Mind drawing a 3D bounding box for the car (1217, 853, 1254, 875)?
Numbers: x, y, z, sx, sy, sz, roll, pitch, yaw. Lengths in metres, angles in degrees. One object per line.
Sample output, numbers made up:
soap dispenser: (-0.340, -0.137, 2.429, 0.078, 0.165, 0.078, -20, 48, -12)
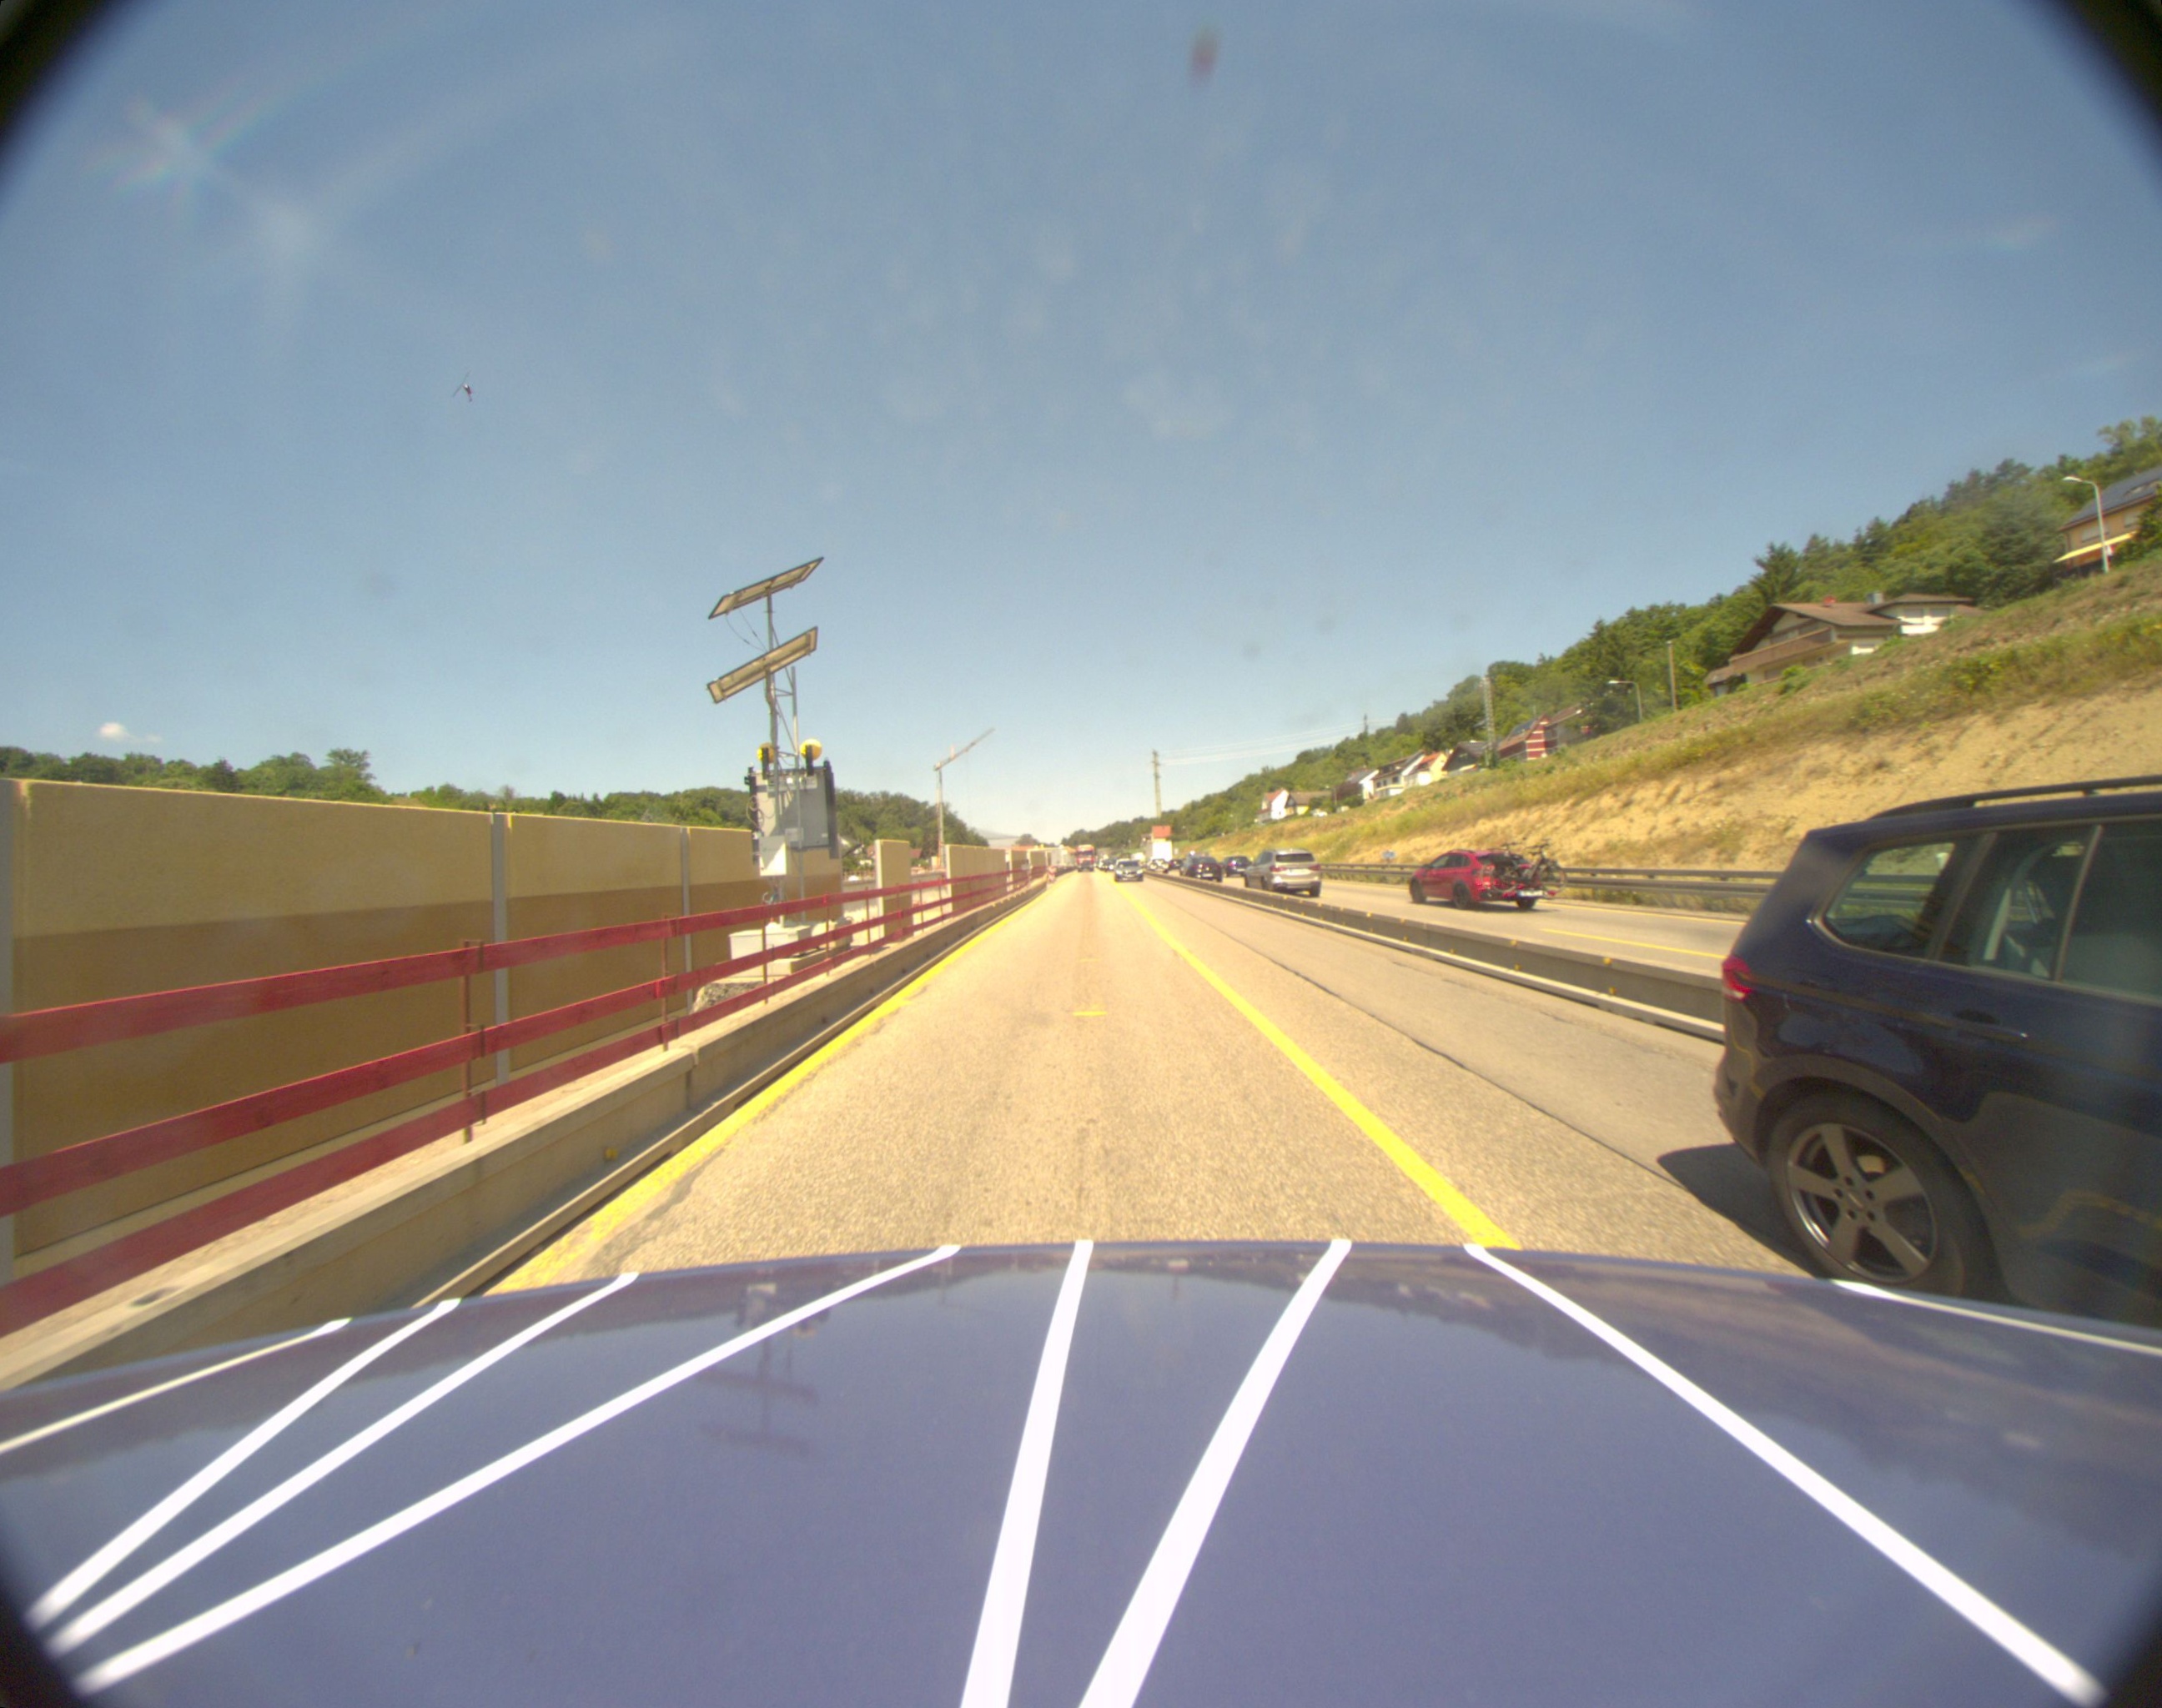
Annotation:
car: (10.671, 0.674, 52.670, 1.714, 1.410, 4.242, -2, 0, 1)

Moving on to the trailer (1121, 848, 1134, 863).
trailer: (12.433, 0.398, 202.801, 2.920, 3.915, 10.527, -2, 0, 1)

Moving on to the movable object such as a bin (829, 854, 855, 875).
movable object such as a bin: (-36.795, 1.544, 117.057, 2.202, 3.065, 4.918, -2, 0, 1)

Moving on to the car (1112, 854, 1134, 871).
car: (3.754, 0.773, 68.275, 1.780, 1.447, 4.336, -2, -1, 1)

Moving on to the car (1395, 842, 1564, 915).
car: (10.030, 0.545, 19.682, 1.689, 1.576, 5.126, -2, 0, 1)

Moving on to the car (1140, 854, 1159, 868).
car: (7.431, 0.773, 83.048, 1.714, 1.410, 4.242, -2, 0, 1)

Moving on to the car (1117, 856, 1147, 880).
car: (3.340, 0.931, 50.285, 1.780, 1.447, 4.336, -2, -1, 1)

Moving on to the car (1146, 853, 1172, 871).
car: (7.441, 0.732, 72.965, 1.844, 1.644, 5.371, -1, 0, 0)

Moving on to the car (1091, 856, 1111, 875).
car: (1.877, 1.087, 72.796, 1.780, 1.682, 4.336, -2, -1, 1)

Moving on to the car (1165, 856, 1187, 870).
car: (11.241, 1.020, 90.470, 1.998, 1.498, 4.718, -2, 0, 0)

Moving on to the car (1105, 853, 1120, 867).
car: (3.918, 0.785, 95.589, 1.780, 1.727, 4.336, -2, -1, 1)

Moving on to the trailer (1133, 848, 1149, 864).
trailer: (11.678, 0.419, 149.312, 2.619, 2.983, 6.371, -2, 0, 1)

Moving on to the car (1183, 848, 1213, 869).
car: (11.082, 0.449, 72.560, 2.043, 1.915, 5.121, -1, 0, 0)

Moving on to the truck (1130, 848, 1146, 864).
truck: (11.787, 0.381, 157.025, 2.733, 3.124, 8.960, -2, 0, 1)

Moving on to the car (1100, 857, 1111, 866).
car: (4.218, 1.304, 130.922, 1.780, 1.485, 4.336, -2, -1, 1)

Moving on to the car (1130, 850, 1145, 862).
car: (8.183, 0.244, 109.693, 1.837, 1.656, 4.414, -2, 0, 0)

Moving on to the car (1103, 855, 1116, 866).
car: (4.281, 0.997, 115.518, 1.780, 1.485, 4.336, -2, -1, 1)

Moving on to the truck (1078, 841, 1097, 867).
truck: (1.126, 0.060, 116.533, 2.605, 3.703, 10.537, -2, -1, 1)

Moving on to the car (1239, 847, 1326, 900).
car: (7.074, 0.621, 27.156, 1.849, 1.655, 4.688, -2, 0, 1)

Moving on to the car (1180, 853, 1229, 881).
car: (7.034, 0.706, 43.774, 1.960, 1.490, 5.090, -2, 0, 1)

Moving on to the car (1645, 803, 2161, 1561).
car: (3.284, 0.696, 0.891, 1.780, 1.708, 4.653, -2, -1, 1)

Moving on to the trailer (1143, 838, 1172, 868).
trailer: (11.121, -0.112, 111.654, 2.793, 4.157, 13.978, -2, 0, 0)
